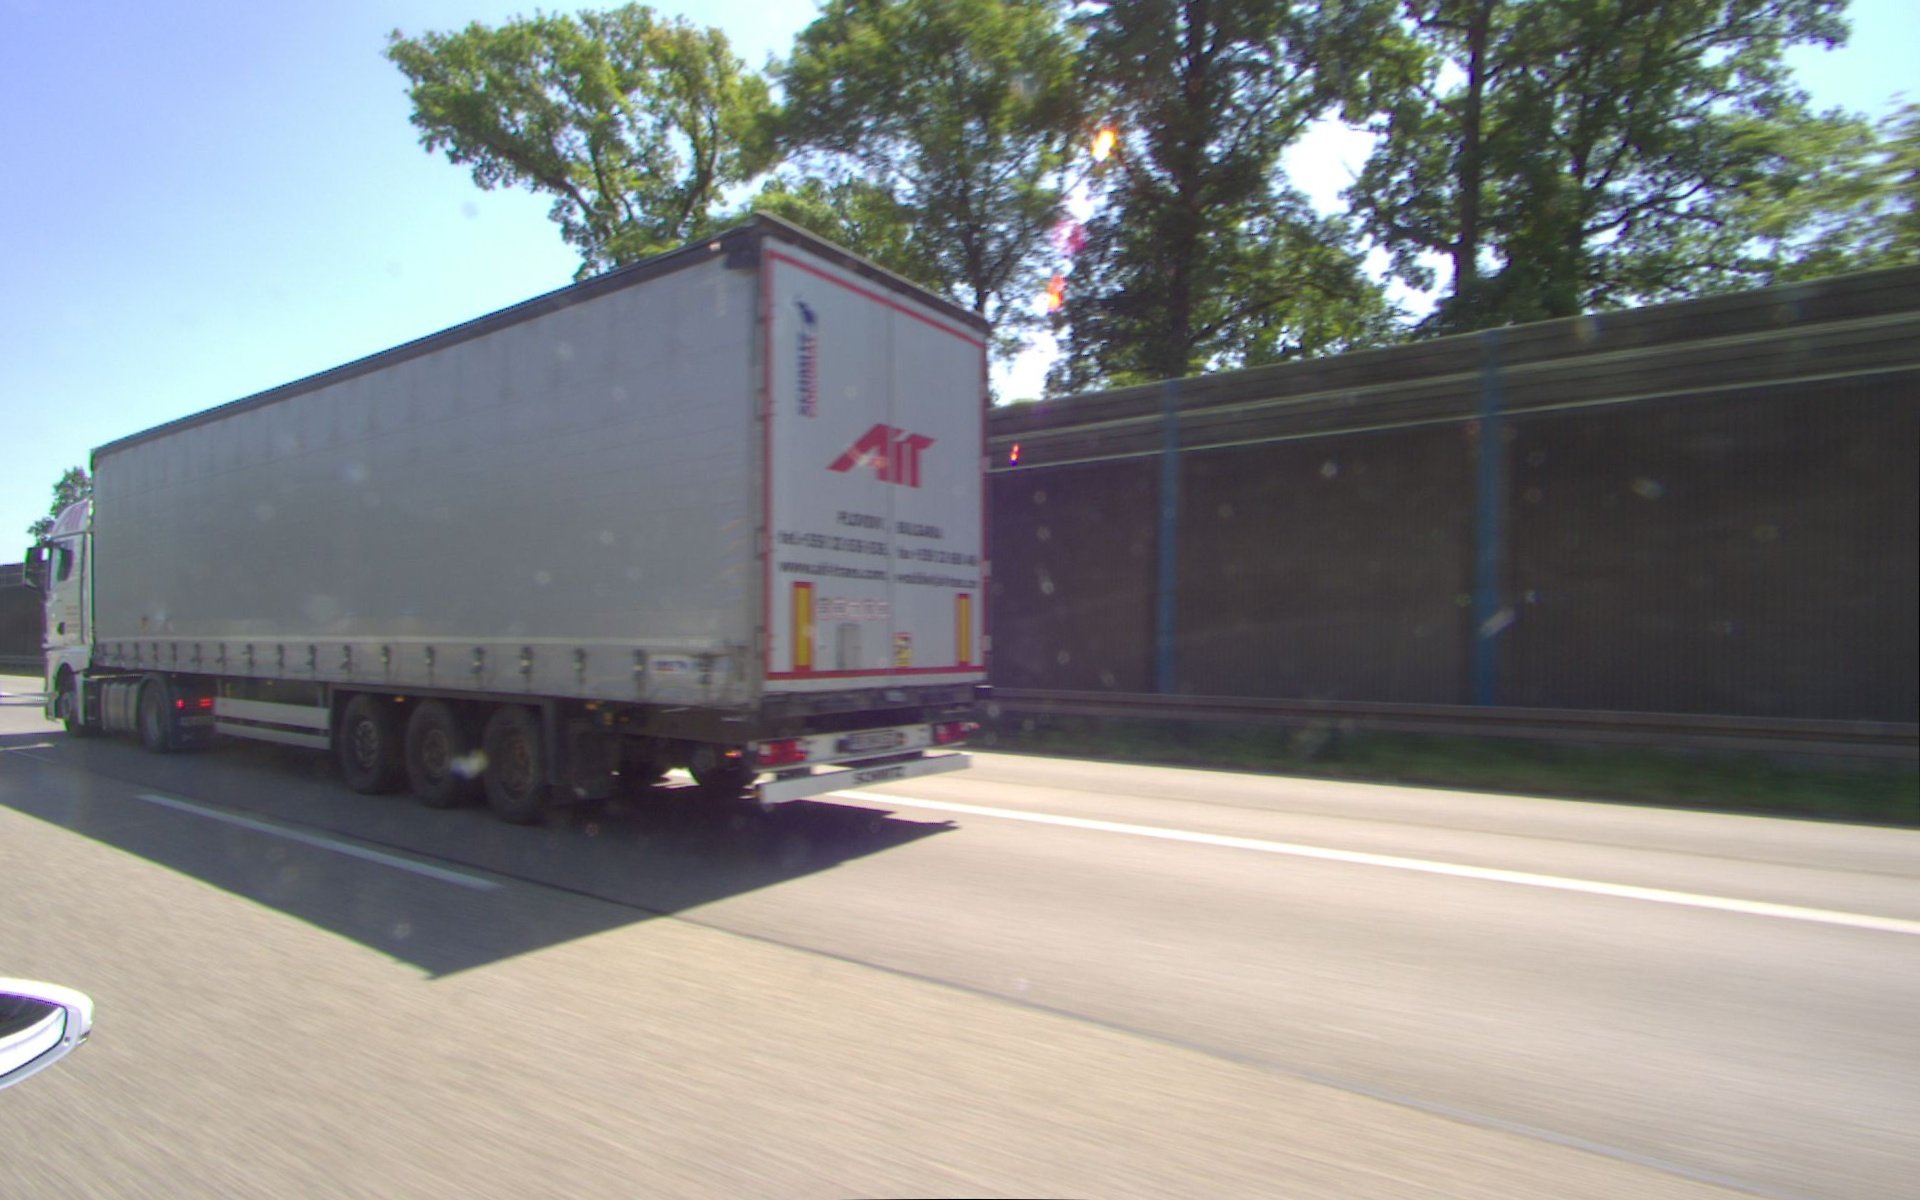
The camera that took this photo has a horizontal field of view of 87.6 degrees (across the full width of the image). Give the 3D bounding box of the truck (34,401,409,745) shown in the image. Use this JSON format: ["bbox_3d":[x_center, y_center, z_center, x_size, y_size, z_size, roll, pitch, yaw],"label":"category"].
[{"bbox_3d":[-11.262,-0.235,15.133,5.907,4.199,2.878,-1,-2,36],"label":"truck"}]

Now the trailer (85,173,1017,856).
[{"bbox_3d":[-5.855,-0.343,11.161,13.614,4.090,2.878,-1,-2,36],"label":"trailer"}]

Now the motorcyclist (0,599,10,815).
[{"bbox_3d":[-7.604,0.768,7.281,1.852,1.493,0.895,-3,-3,43],"label":"motorcyclist"}]

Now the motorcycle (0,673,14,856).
[{"bbox_3d":[-7.613,1.114,7.216,2.781,1.163,0.960,-2,-3,43],"label":"motorcycle"}]
